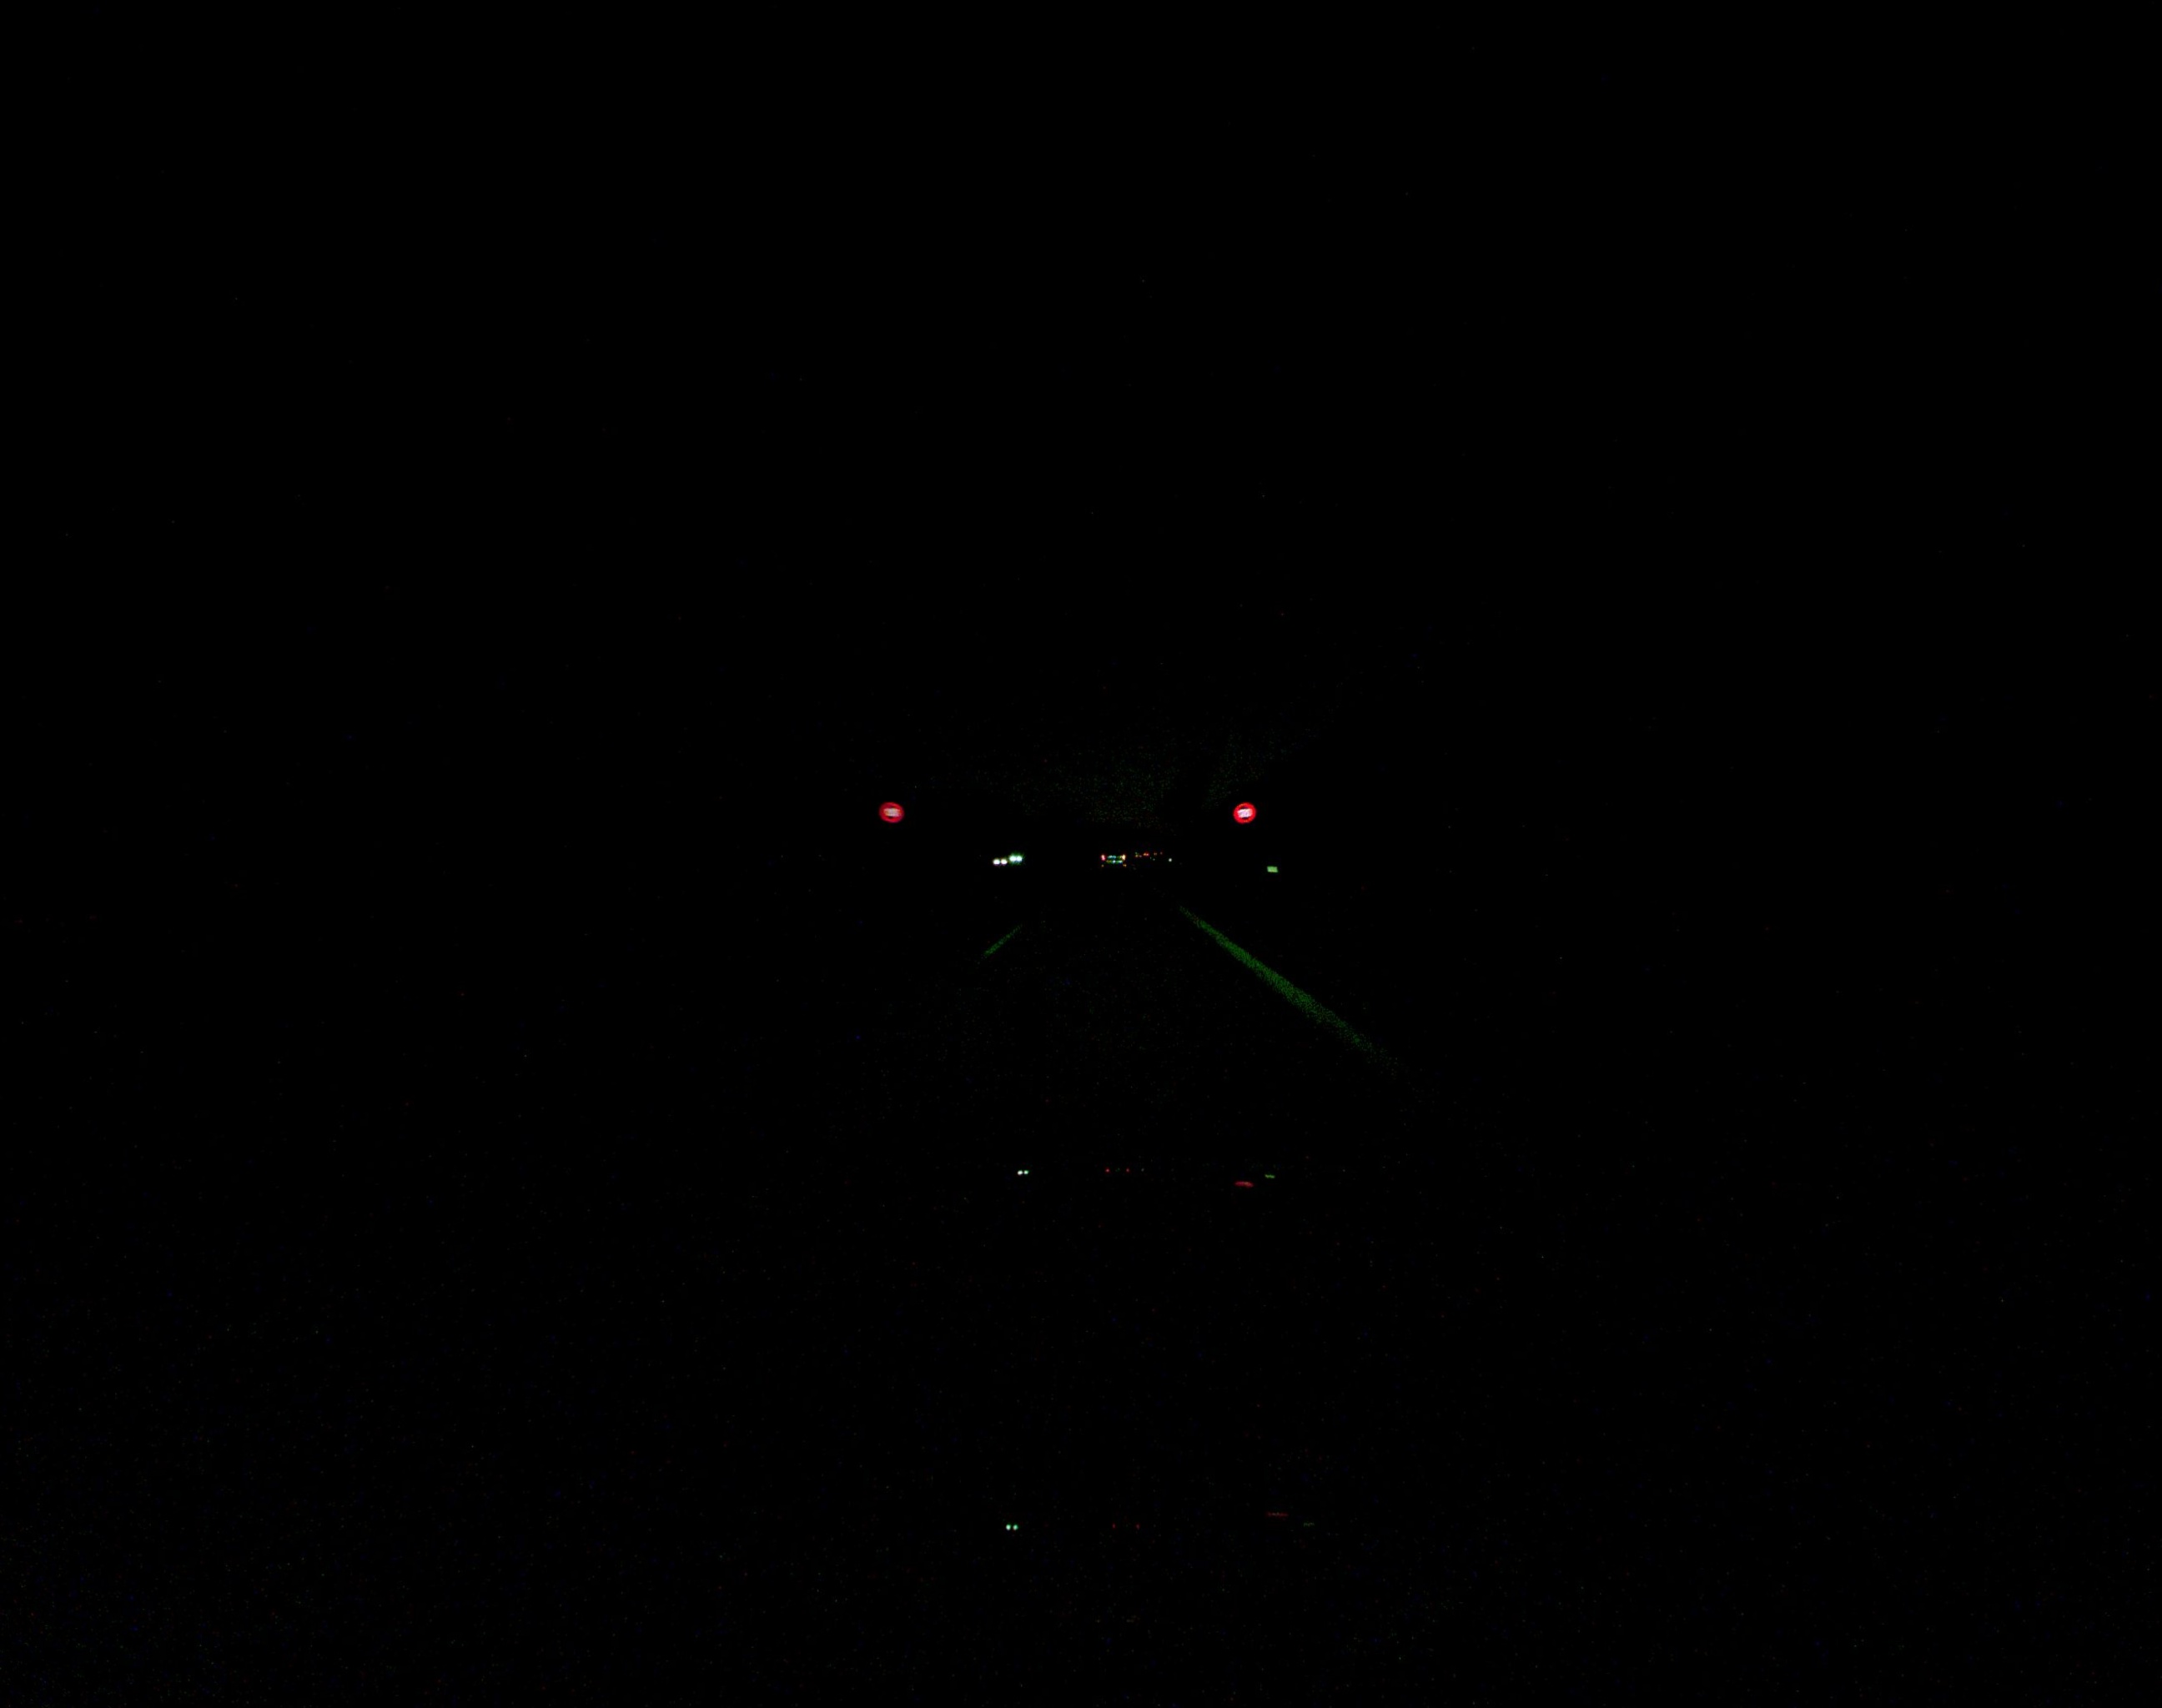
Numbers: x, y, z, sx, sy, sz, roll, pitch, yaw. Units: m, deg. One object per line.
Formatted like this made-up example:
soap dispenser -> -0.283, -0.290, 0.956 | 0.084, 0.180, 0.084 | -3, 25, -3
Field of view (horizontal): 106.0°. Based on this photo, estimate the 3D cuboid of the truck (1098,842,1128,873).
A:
truck -> 2.907, 0.323, 74.982 | 2.620, 2.624, 8.688 | -1, -1, 2

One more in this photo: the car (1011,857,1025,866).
car -> -13.295, 1.582, 171.317 | 2.016, 2.014, 5.194 | -1, -1, 5

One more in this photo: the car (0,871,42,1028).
car -> -14.897, 1.218, 8.550 | 1.986, 2.014, 4.606 | -1, -1, 1

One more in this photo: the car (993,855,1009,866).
car -> -12.532, 1.050, 127.462 | 1.986, 1.602, 4.215 | -1, -1, 2
